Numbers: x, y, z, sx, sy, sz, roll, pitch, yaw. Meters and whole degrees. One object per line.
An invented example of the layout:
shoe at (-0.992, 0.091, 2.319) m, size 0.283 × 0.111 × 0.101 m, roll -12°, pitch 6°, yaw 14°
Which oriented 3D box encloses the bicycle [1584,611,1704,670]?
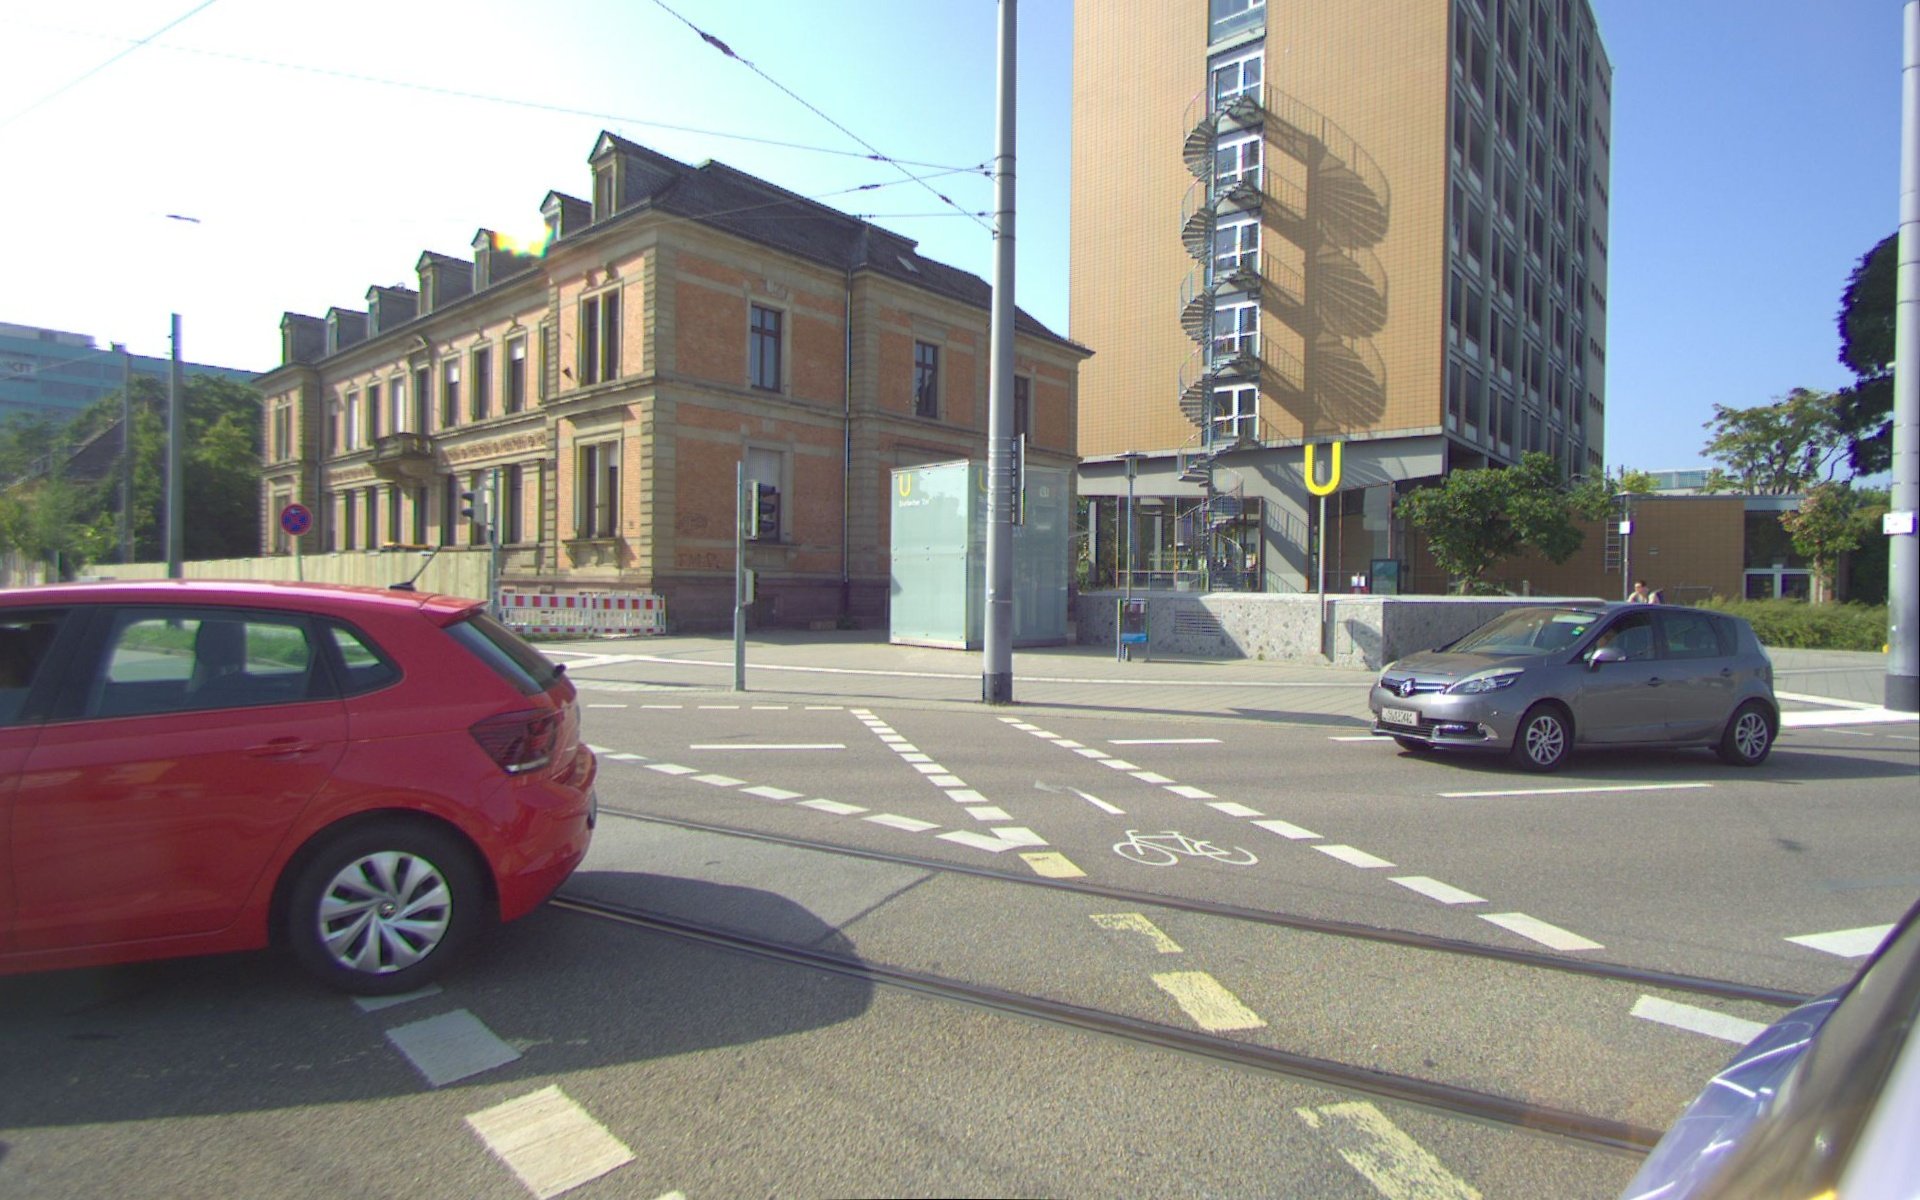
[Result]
bicycle at (13.617, 0.801, 20.165) m, size 2.142 × 1.109 × 0.530 m, roll 1°, pitch 0°, yaw -8°

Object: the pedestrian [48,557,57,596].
pedestrian at (-36.178, -0.951, 40.341) m, size 0.325 × 1.550 × 0.233 m, roll 2°, pitch 0°, yaw 41°

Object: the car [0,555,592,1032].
car at (-3.393, 0.580, 3.841) m, size 3.701 × 1.466 × 1.680 m, roll 1°, pitch 0°, yaw -19°

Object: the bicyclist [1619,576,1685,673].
bicyclist at (13.764, 0.476, 20.149) m, size 0.696 × 1.885 × 0.783 m, roll 1°, pitch 0°, yaw -8°

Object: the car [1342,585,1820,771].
car at (6.335, 0.726, 10.436) m, size 4.199 × 1.645 × 1.818 m, roll 1°, pitch 0°, yaw -16°
